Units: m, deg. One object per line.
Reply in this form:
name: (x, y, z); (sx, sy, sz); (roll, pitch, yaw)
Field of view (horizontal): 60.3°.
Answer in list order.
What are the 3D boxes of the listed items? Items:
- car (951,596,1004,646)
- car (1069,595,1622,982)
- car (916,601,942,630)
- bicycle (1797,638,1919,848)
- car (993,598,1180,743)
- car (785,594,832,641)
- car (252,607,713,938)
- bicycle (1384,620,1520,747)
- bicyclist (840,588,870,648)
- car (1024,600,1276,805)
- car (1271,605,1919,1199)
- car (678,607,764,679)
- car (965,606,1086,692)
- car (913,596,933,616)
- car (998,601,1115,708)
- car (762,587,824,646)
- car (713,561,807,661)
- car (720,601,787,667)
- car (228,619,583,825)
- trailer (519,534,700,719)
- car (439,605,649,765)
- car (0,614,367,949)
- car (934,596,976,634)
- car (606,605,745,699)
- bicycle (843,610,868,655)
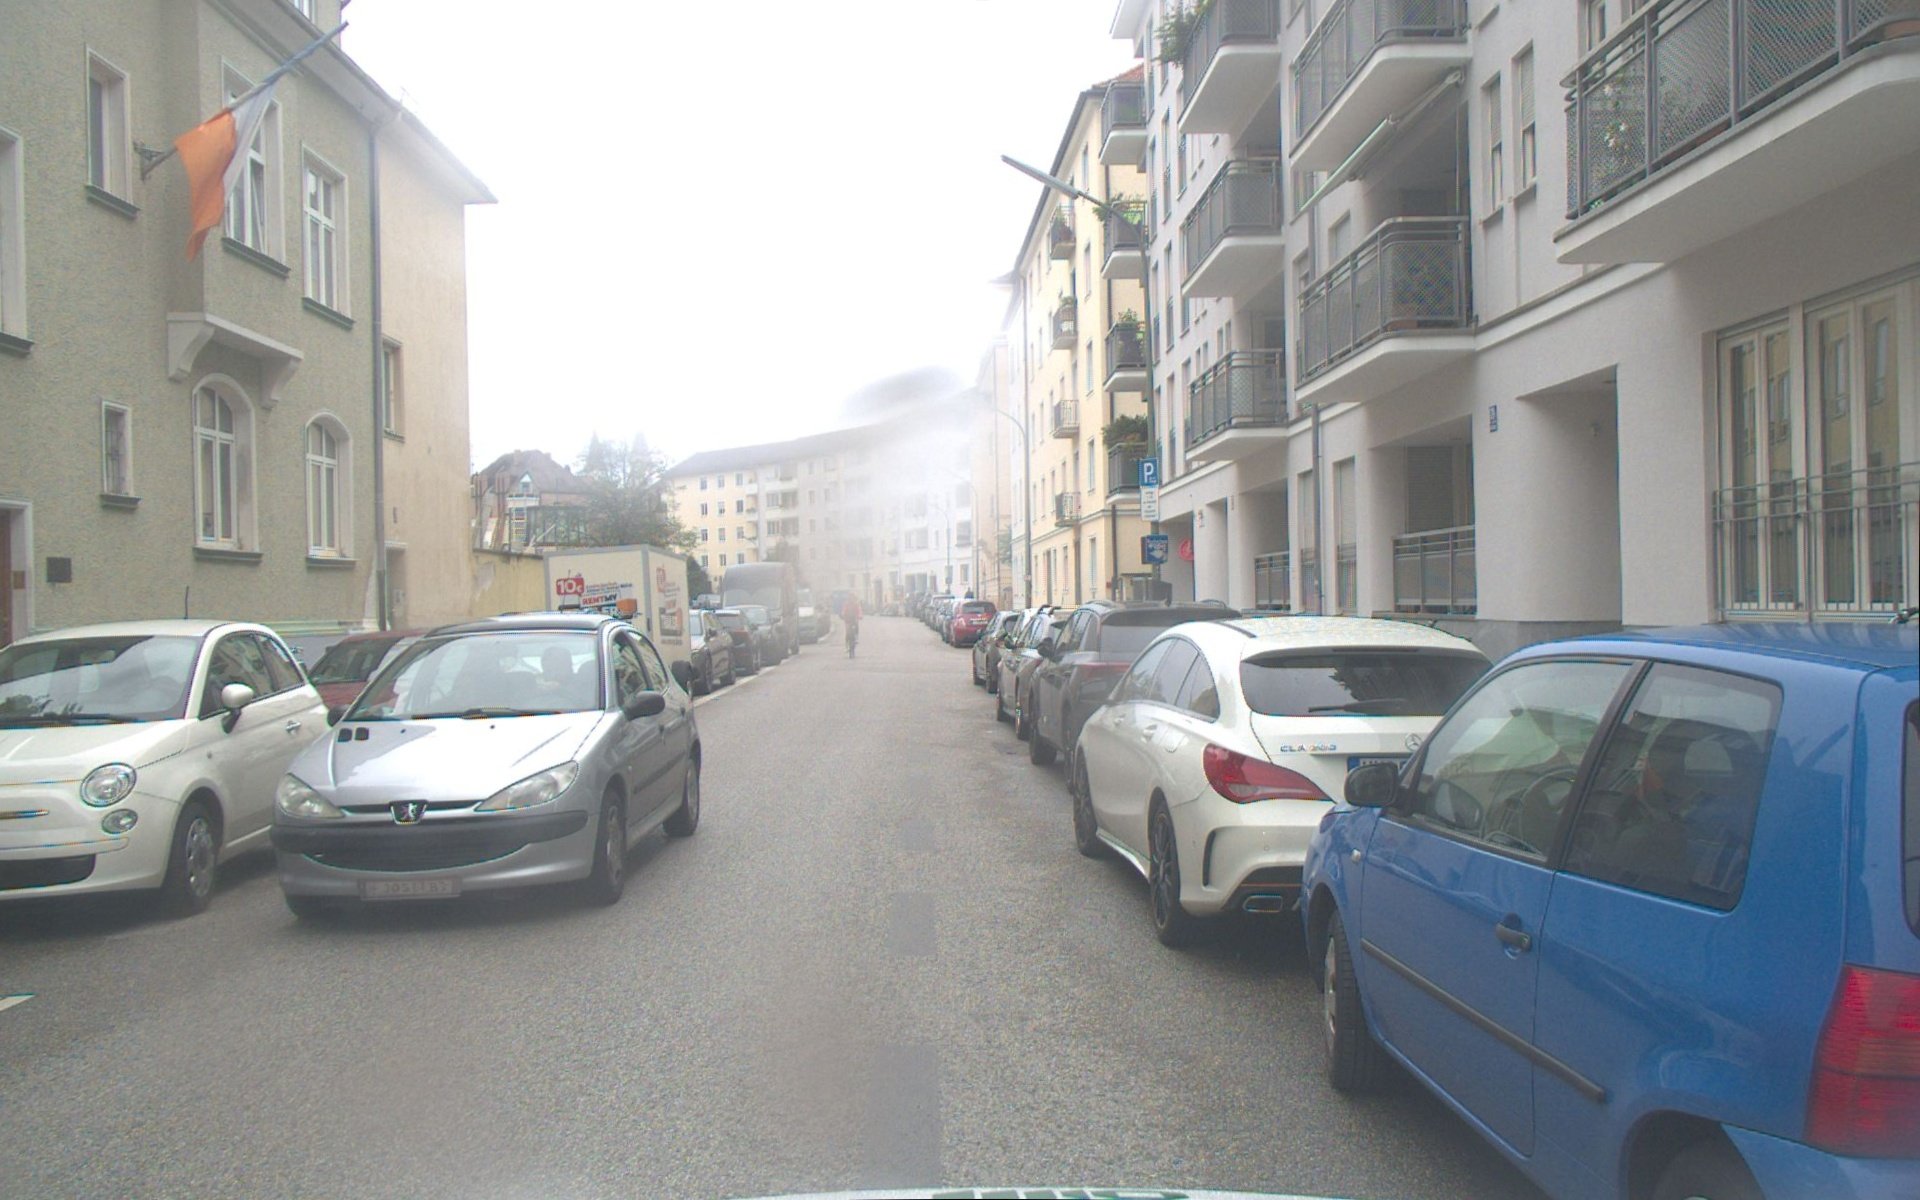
car: (0.543, 0.667, 54.173); (1.563, 1.535, 3.799); (-1, 0, -2)
car: (1.636, 0.731, 8.477); (1.625, 1.465, 4.204); (1, 0, -3)
car: (-1.876, 0.929, 99.144); (1.445, 1.669, 3.998); (0, 0, -3)
bicycle: (5.151, 0.723, 8.509); (0.664, 1.046, 1.833); (-1, -2, -3)
car: (1.437, 0.780, 20.506); (1.699, 1.557, 4.618); (1, 0, -3)
car: (-6.166, 0.683, 67.453); (1.668, 1.720, 4.025); (-3, 1, -3)
car: (-2.409, 0.784, 9.227); (1.549, 1.436, 3.611); (-2, 0, -1)
bicycle: (5.015, 0.819, 16.999); (0.615, 1.180, 2.126); (-1, 0, -4)
bicyclist: (-2.809, 0.475, 44.466); (0.680, 1.589, 0.967); (-2, 0, 1)
car: (1.552, 0.796, 14.806); (1.572, 1.557, 3.981); (1, 0, -3)
car: (2.013, 0.753, 4.128); (1.587, 1.437, 3.551); (1, 0, -4)
car: (-5.394, 0.946, 37.659); (1.667, 1.471, 3.821); (0, 1, -4)
car: (1.129, 0.853, 30.292); (1.728, 1.432, 4.074); (-1, 0, -5)
car: (-2.497, 0.386, 110.891); (1.247, 1.321, 2.795); (-1, 0, -4)
car: (1.462, 0.802, 26.118); (1.489, 1.557, 3.524); (0, 0, -3)
car: (-6.055, 0.571, 60.344); (1.845, 1.965, 4.599); (-3, 1, -2)
car: (-5.678, 0.261, 47.571); (2.045, 2.682, 5.376); (-1, 1, 0)
car: (-5.274, 0.852, 42.516); (1.555, 1.565, 3.539); (-2, 0, -6)
car: (-4.653, 0.940, 14.594); (1.824, 1.437, 4.330); (-3, -1, -3)
trailer: (-5.264, 0.355, 25.419); (1.674, 2.504, 4.387); (-3, 0, 1)
car: (-4.933, 0.938, 20.127); (1.653, 1.631, 3.919); (-3, 0, -3)
car: (-4.613, 0.875, 9.320); (1.444, 1.492, 3.311); (-3, 0, -3)
car: (-0.240, 0.621, 70.050); (1.567, 1.517, 3.797); (-1, 1, -3)
car: (-5.294, 0.920, 31.322); (1.730, 1.565, 4.541); (-3, 0, 1)
bicycle: (-2.803, 0.869, 44.524); (0.494, 1.148, 1.773); (-2, 0, 1)
